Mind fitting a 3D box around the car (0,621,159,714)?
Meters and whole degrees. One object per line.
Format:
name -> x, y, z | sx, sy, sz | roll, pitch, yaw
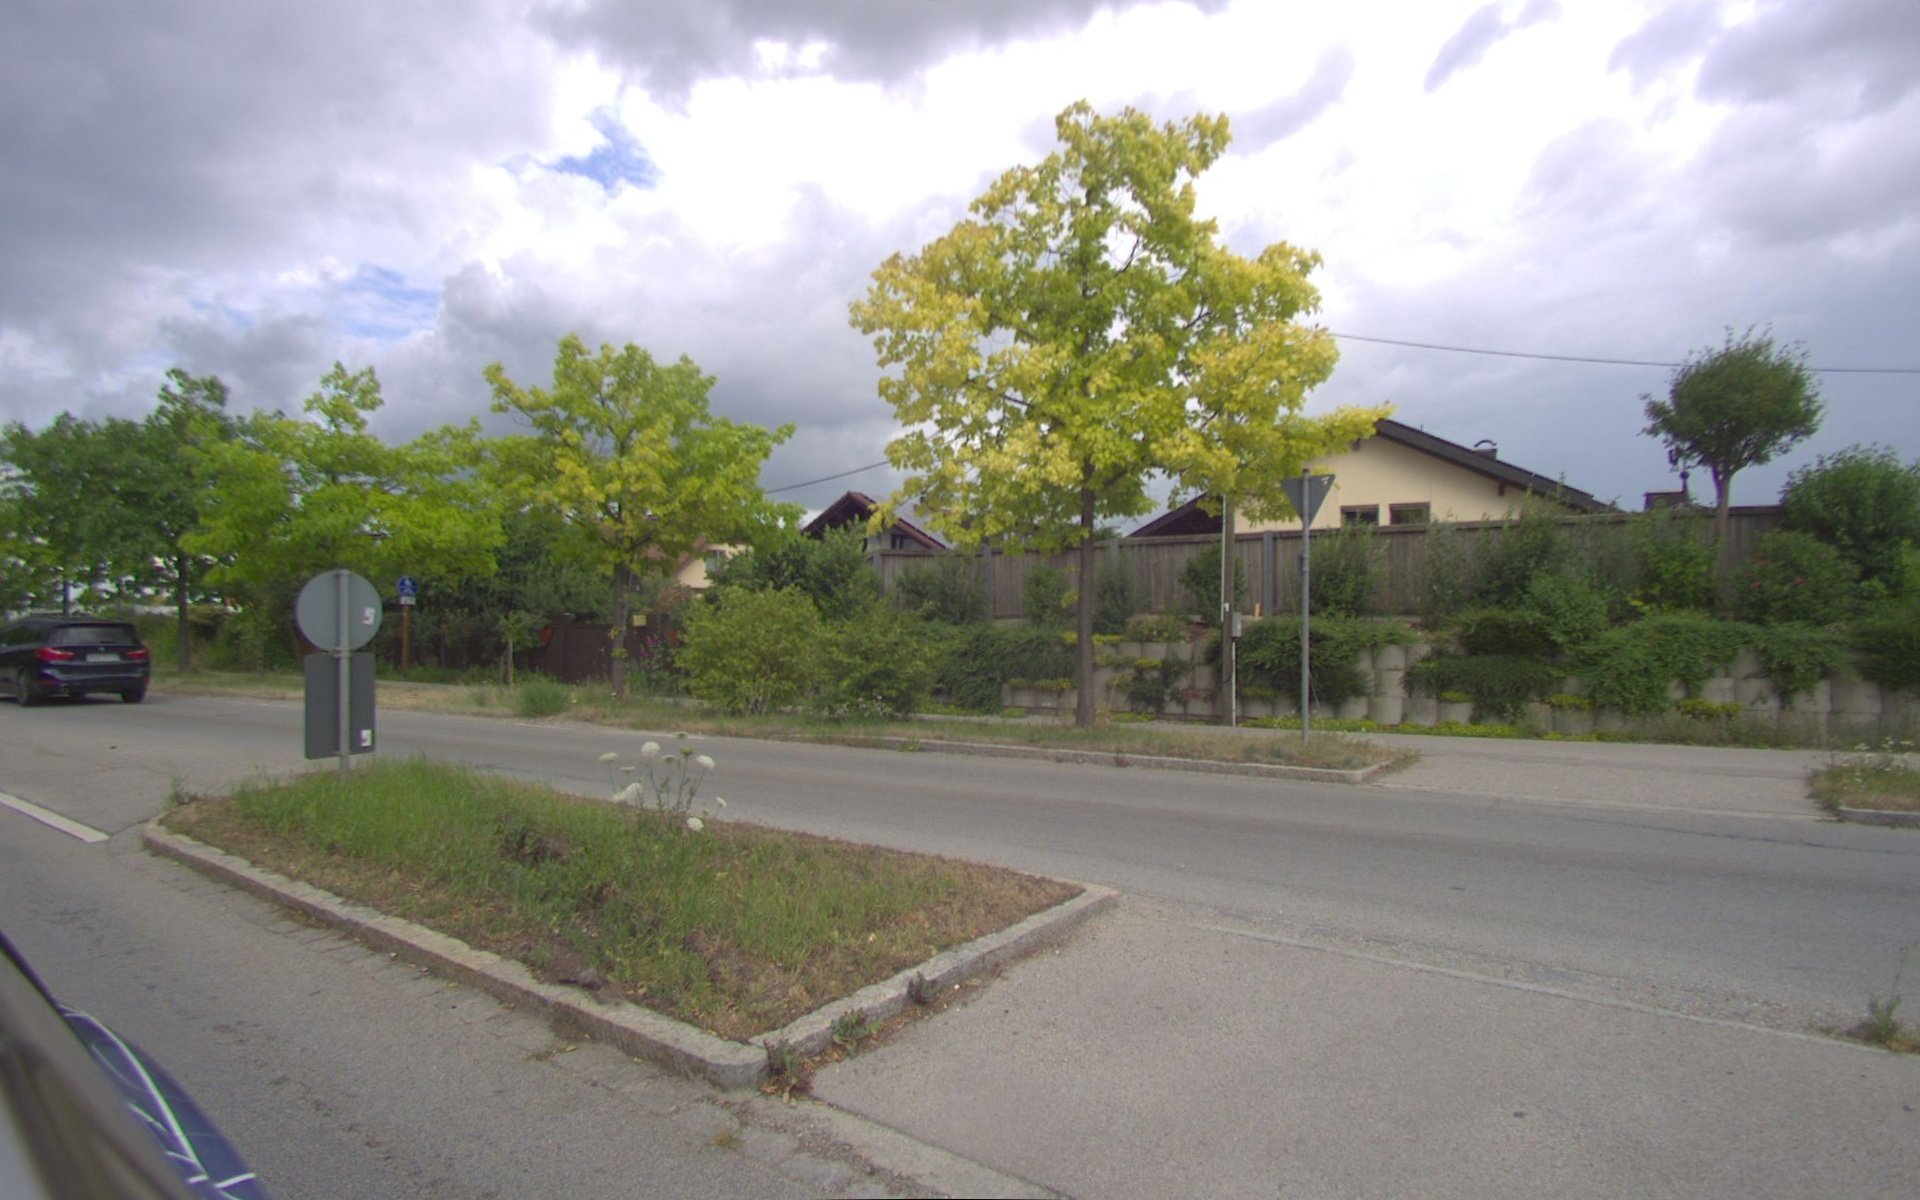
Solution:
car -> -17.249, 1.236, 19.296 | 4.341, 1.598, 1.725 | -1, -3, 32
